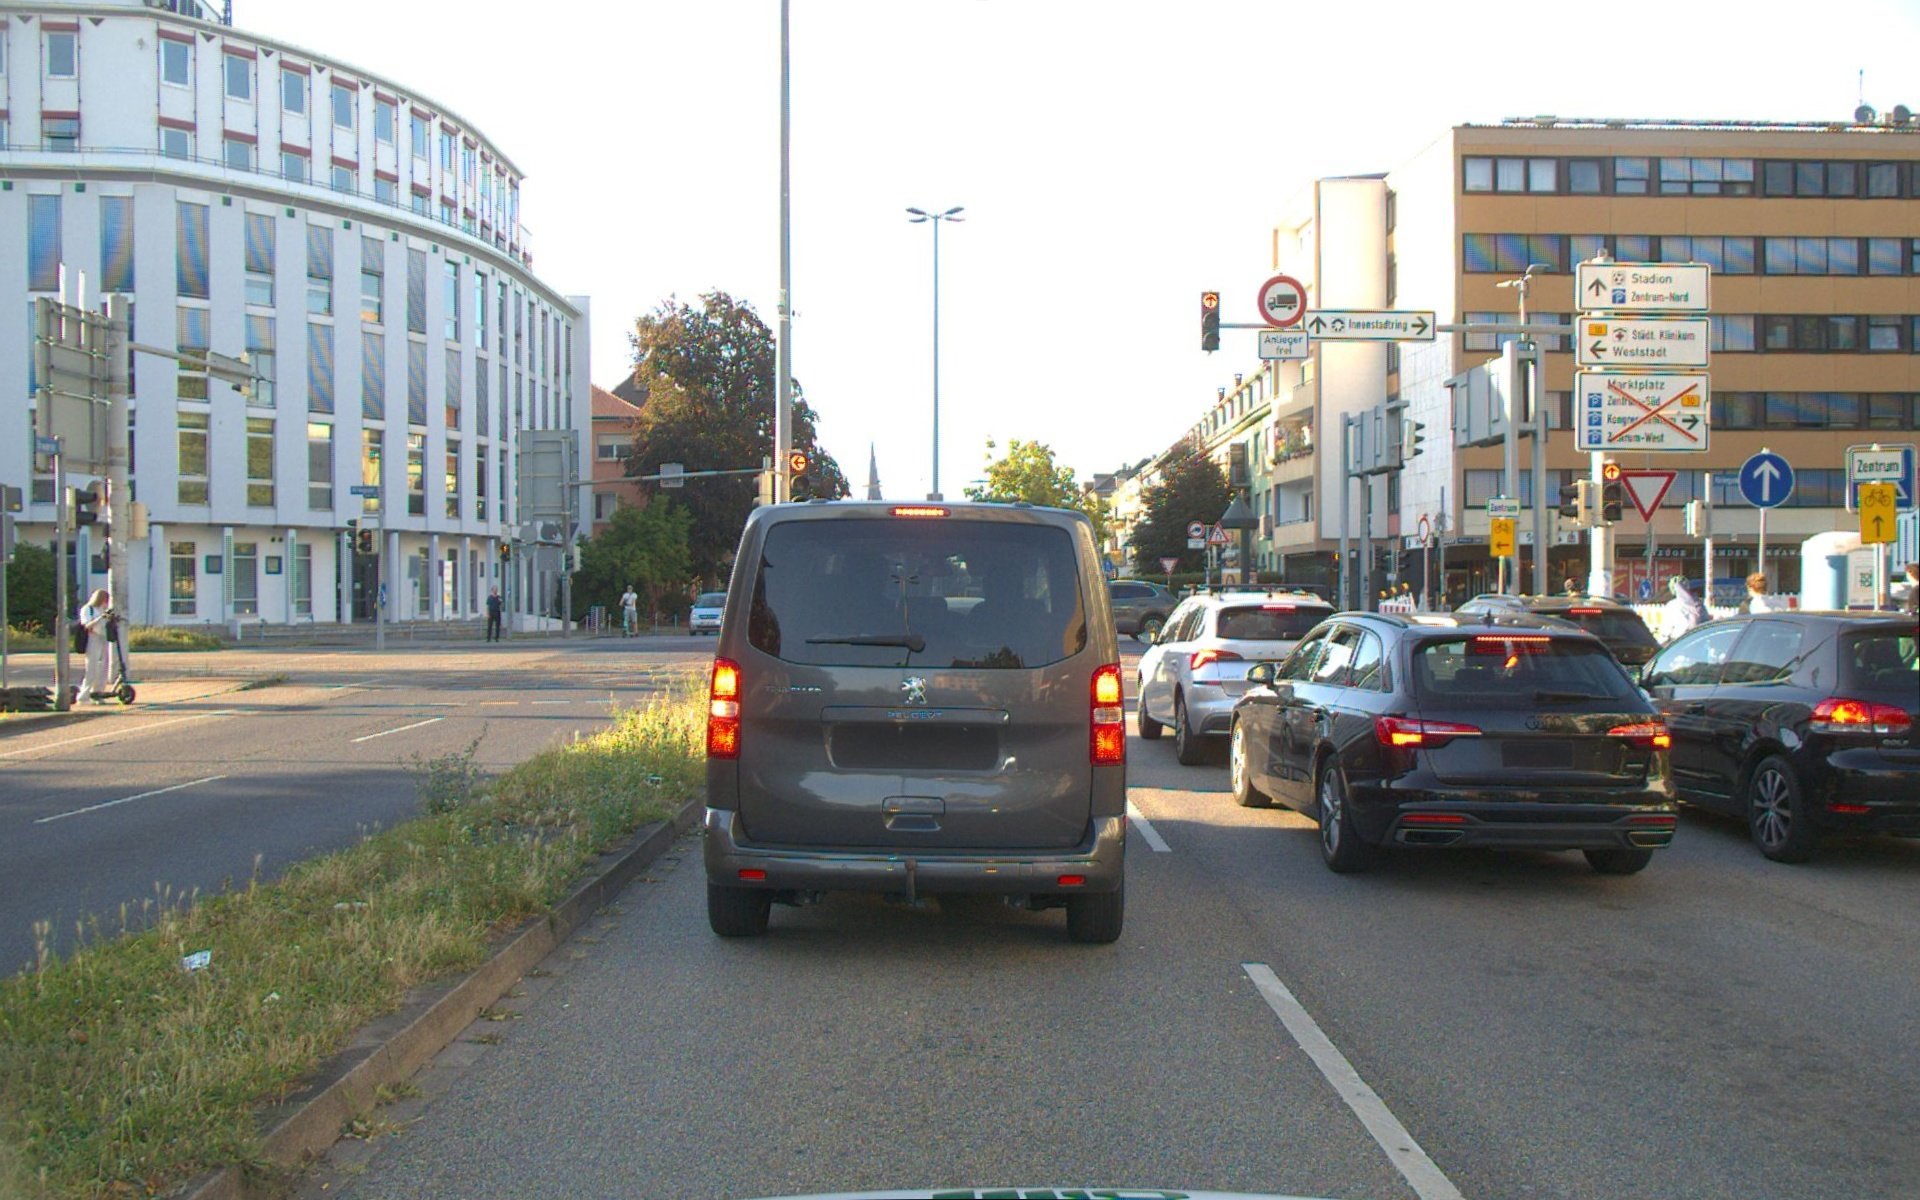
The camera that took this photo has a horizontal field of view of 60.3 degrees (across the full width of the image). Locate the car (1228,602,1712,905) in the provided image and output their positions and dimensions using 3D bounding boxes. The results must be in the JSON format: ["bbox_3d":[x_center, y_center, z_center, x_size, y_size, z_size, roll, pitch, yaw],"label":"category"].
[{"bbox_3d":[2.880,0.769,10.326,1.647,1.446,4.213,1,0,-1],"label":"car"}]

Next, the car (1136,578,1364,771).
[{"bbox_3d":[2.700,0.633,16.127,1.497,1.641,3.744,1,0,-1],"label":"car"}]

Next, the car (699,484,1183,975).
[{"bbox_3d":[-0.103,0.498,8.763,1.868,1.896,4.526,1,0,-1],"label":"car"}]

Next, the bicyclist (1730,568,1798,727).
[{"bbox_3d":[7.971,0.463,16.403,0.432,1.552,0.482,0,0,-1],"label":"bicyclist"}]

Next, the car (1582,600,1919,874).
[{"bbox_3d":[5.657,0.762,10.952,1.600,1.474,3.744,1,0,-1],"label":"car"}]

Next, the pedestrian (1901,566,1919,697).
[{"bbox_3d":[13.840,0.448,23.703,0.479,1.866,0.568,0,0,44],"label":"pedestrian"}]

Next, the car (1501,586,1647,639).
[{"bbox_3d":[17.901,0.358,48.278,3.606,1.412,1.693,-2,0,-9],"label":"car"}]

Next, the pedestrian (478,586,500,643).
[{"bbox_3d":[-14.778,0.449,51.876,0.615,1.752,0.669,0,0,-15],"label":"pedestrian"}]

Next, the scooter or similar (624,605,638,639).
[{"bbox_3d":[-11.811,0.784,59.442,0.279,1.209,1.169,0,0,-1],"label":"scooter or similar"}]

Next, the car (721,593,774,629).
[{"bbox_3d":[-8.860,0.454,69.275,1.818,1.445,3.998,-1,0,-2],"label":"car"}]

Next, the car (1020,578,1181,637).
[{"bbox_3d":[3.874,0.196,46.132,4.253,1.576,1.786,0,0,-5],"label":"car"}]

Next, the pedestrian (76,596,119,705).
[{"bbox_3d":[-12.326,0.714,23.642,0.466,1.532,0.334,0,0,-13],"label":"pedestrian"}]

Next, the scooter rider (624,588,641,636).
[{"bbox_3d":[-11.774,0.423,59.459,0.471,1.727,0.636,0,0,-1],"label":"scooter rider"}]

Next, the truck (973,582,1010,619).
[{"bbox_3d":[1.912,0.003,98.649,2.083,2.123,4.633,-1,0,2],"label":"truck"}]

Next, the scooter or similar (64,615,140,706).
[{"bbox_3d":[-12.145,0.853,23.423,0.877,1.255,0.370,0,0,-12],"label":"scooter or similar"}]

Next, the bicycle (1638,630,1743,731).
[{"bbox_3d":[8.132,0.869,18.481,0.329,1.025,1.855,0,0,-1],"label":"bicycle"}]

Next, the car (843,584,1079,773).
[{"bbox_3d":[-0.019,0.642,15.798,1.953,1.557,3.999,0,0,-1],"label":"car"}]

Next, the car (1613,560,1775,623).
[{"bbox_3d":[22.474,-0.275,50.681,4.138,1.849,1.996,-1,0,-9],"label":"car"}]

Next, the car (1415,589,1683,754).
[{"bbox_3d":[5.771,0.634,16.585,1.474,1.474,3.304,0,0,-1],"label":"car"}]

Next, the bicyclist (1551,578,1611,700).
[{"bbox_3d":[8.067,0.491,21.498,0.503,1.552,0.725,0,0,-1],"label":"bicyclist"}]

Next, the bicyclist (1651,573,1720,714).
[{"bbox_3d":[8.136,0.477,18.563,0.432,1.552,0.725,0,0,-1],"label":"bicyclist"}]

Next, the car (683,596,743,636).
[{"bbox_3d":[-9.429,0.572,63.330,1.818,1.445,3.998,-1,0,-2],"label":"car"}]

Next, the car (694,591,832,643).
[{"bbox_3d":[-5.740,0.486,48.359,3.911,1.445,1.785,0,0,-7],"label":"car"}]
